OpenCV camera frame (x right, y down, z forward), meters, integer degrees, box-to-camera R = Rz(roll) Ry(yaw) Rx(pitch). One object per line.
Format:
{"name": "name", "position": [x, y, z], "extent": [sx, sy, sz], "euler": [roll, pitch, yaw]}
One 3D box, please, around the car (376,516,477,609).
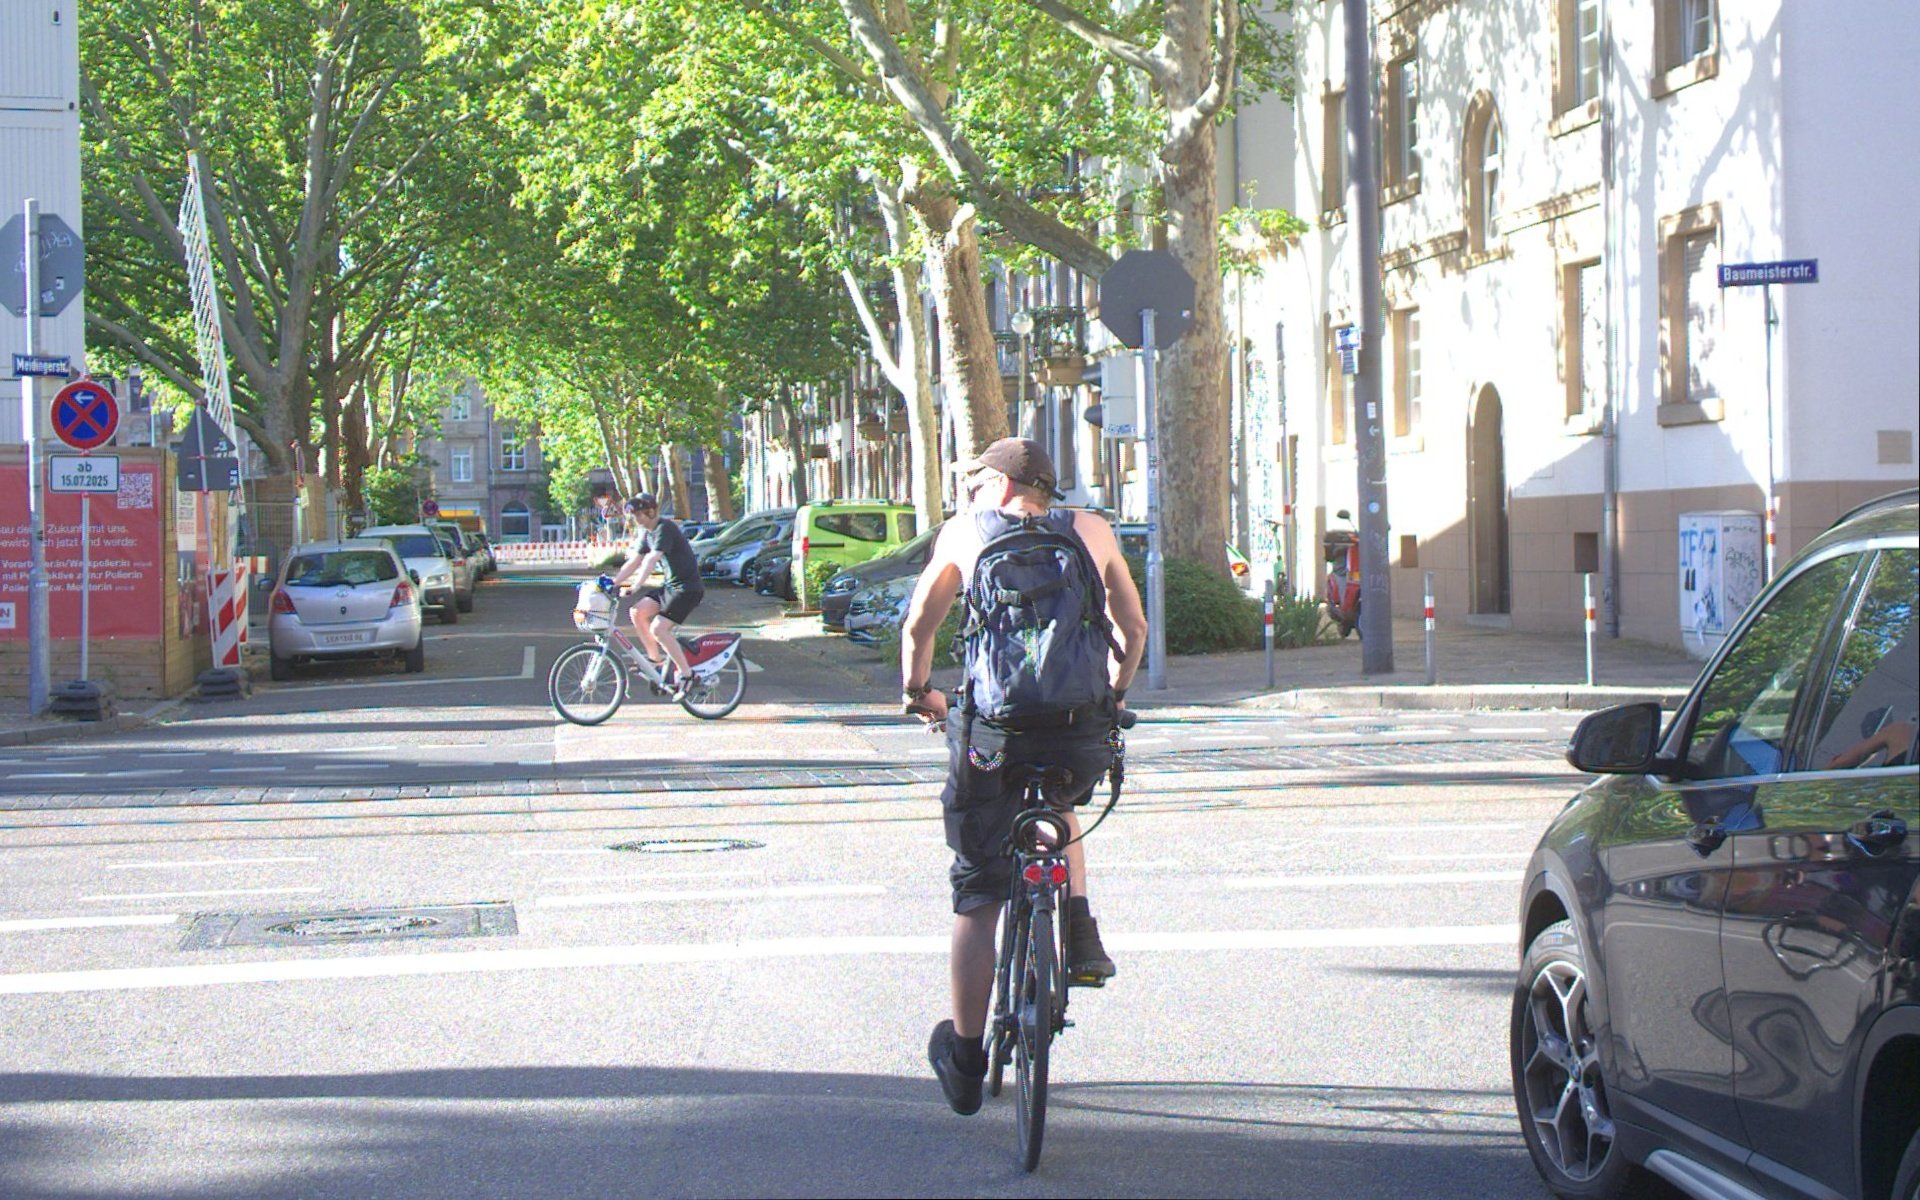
{"name": "car", "position": [-9.483, -0.693, 61.096], "extent": [1.665, 1.557, 4.520], "euler": [-1, 1, -9]}

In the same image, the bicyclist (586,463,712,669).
{"name": "bicyclist", "position": [-2.546, -0.285, 28.117], "extent": [0.809, 1.652, 0.682], "euler": [-2, 1, -25]}

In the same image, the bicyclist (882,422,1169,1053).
{"name": "bicyclist", "position": [0.154, 0.323, 8.573], "extent": [0.676, 1.508, 0.669], "euler": [0, 1, 0]}

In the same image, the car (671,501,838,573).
{"name": "car", "position": [-5.702, -1.748, 95.328], "extent": [4.460, 1.891, 1.729], "euler": [-1, 1, -8]}

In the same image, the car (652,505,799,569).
{"name": "car", "position": [-7.380, -1.983, 108.034], "extent": [4.460, 1.891, 1.729], "euler": [-1, 1, -8]}

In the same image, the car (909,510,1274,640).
{"name": "car", "position": [1.668, -0.345, 44.490], "extent": [4.460, 1.565, 1.729], "euler": [-1, 1, -8]}

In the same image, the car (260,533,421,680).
{"name": "car", "position": [-7.051, 0.025, 39.390], "extent": [1.643, 1.489, 4.001], "euler": [-4, 2, -9]}

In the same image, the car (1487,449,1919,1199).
{"name": "car", "position": [2.250, 0.586, 6.327], "extent": [1.760, 1.656, 4.198], "euler": [0, 1, -2]}

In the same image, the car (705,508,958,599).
{"name": "car", "position": [-2.384, -0.873, 63.242], "extent": [4.460, 1.565, 1.729], "euler": [-1, 1, -8]}

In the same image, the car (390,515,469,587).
{"name": "car", "position": [-11.986, -1.132, 77.660], "extent": [1.665, 1.557, 4.617], "euler": [-1, 1, -9]}

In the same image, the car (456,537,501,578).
{"name": "car", "position": [-19.328, -1.704, 137.865], "extent": [1.665, 1.557, 4.220], "euler": [-1, 1, -9]}

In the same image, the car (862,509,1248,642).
{"name": "car", "position": [1.132, -0.320, 42.039], "extent": [4.460, 1.495, 1.729], "euler": [-1, 1, -8]}

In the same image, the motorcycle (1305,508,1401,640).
{"name": "motorcycle", "position": [4.076, -0.289, 35.729], "extent": [0.513, 1.328, 1.764], "euler": [-1, 2, -9]}

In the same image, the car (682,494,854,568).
{"name": "car", "position": [-5.178, -1.863, 92.600], "extent": [4.460, 1.891, 1.729], "euler": [-1, 1, -8]}

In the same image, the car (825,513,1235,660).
{"name": "car", "position": [0.775, -0.176, 39.523], "extent": [4.460, 1.565, 1.729], "euler": [-1, 1, -8]}

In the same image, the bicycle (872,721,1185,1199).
{"name": "bicycle", "position": [0.149, 0.867, 8.634], "extent": [0.689, 1.013, 1.907], "euler": [0, 1, 0]}

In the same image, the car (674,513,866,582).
{"name": "car", "position": [-4.604, -1.279, 82.967], "extent": [4.460, 1.565, 1.729], "euler": [-1, 1, -8]}

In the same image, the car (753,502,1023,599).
{"name": "car", "position": [-1.267, -0.862, 59.406], "extent": [4.460, 1.565, 1.729], "euler": [-1, 1, -8]}

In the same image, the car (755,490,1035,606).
{"name": "car", "position": [-1.106, -0.883, 57.393], "extent": [4.460, 1.830, 1.729], "euler": [-1, 1, -8]}

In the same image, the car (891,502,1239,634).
{"name": "car", "position": [1.396, -0.454, 46.558], "extent": [4.460, 1.665, 1.729], "euler": [-1, 1, -8]}

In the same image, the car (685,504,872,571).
{"name": "car", "position": [-4.520, -1.549, 85.309], "extent": [4.460, 1.565, 1.729], "euler": [-1, 1, -8]}

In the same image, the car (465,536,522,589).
{"name": "car", "position": [-14.583, -1.193, 107.379], "extent": [1.665, 1.557, 4.220], "euler": [-1, 1, -9]}

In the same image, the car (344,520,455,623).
{"name": "car", "position": [-9.012, -0.487, 55.402], "extent": [1.665, 1.557, 4.001], "euler": [-1, 1, -9]}

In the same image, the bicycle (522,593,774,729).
{"name": "bicycle", "position": [-2.551, 0.485, 28.125], "extent": [1.915, 1.015, 0.682], "euler": [-2, 2, -25]}

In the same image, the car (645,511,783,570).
{"name": "car", "position": [-8.265, -2.015, 115.418], "extent": [4.460, 1.891, 1.729], "euler": [-1, 1, -8]}

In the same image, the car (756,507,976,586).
{"name": "car", "position": [-2.012, -1.140, 72.754], "extent": [4.460, 1.565, 1.729], "euler": [-1, 1, -8]}

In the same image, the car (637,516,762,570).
{"name": "car", "position": [-9.665, -2.108, 127.321], "extent": [4.460, 1.891, 1.729], "euler": [-1, 1, -8]}

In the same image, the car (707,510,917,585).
{"name": "car", "position": [-3.277, -1.167, 75.830], "extent": [4.460, 1.565, 1.729], "euler": [-1, 1, -8]}
